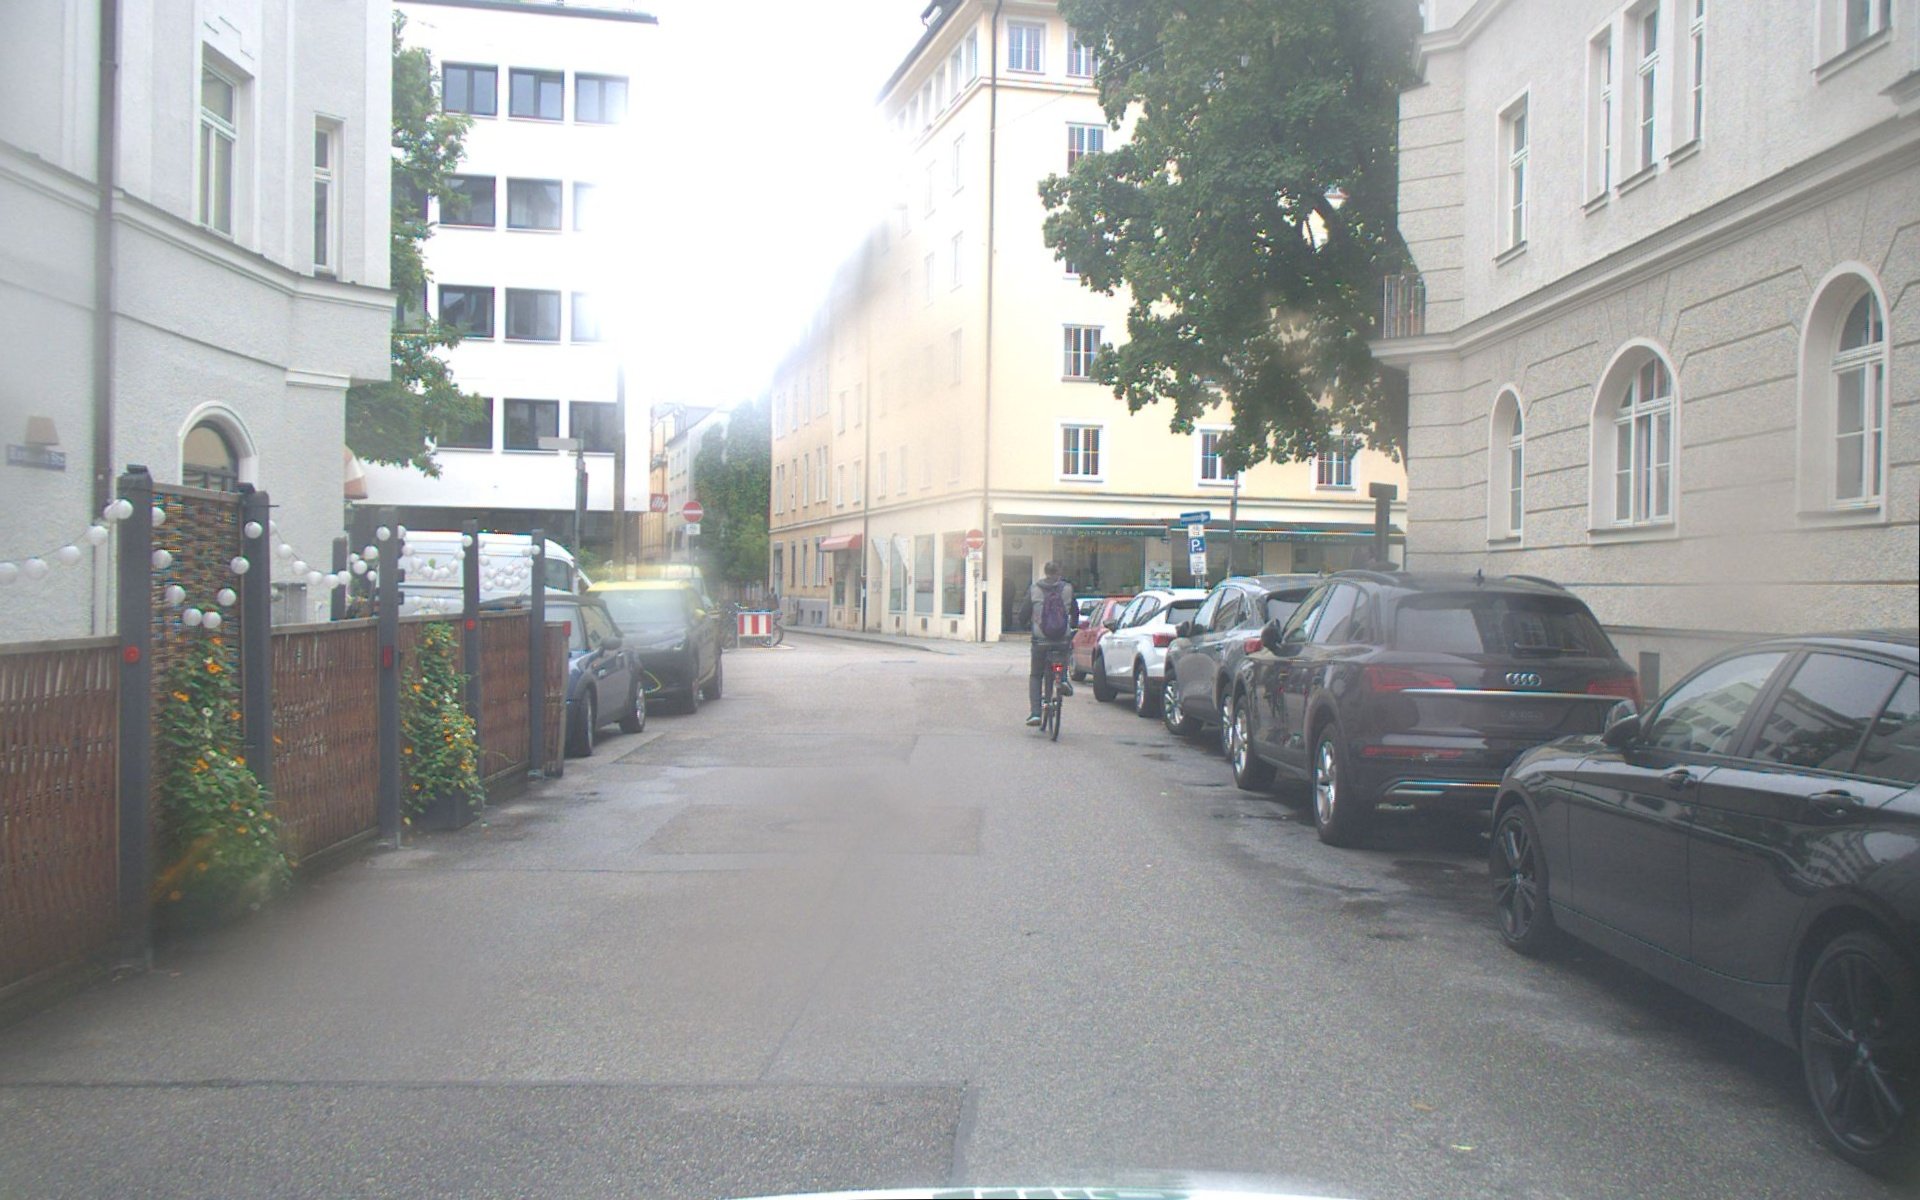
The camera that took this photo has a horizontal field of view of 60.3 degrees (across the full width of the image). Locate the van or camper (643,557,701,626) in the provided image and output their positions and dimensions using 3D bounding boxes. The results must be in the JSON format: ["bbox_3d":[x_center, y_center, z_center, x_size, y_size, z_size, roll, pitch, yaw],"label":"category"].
[{"bbox_3d":[-11.318,-0.333,64.858,1.959,2.584,4.744,0,0,-13],"label":"van or camper"}]

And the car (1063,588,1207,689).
[{"bbox_3d":[2.759,0.561,26.864,1.636,1.460,4.211,1,1,-3],"label":"car"}]

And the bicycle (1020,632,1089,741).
[{"bbox_3d":[0.949,0.865,16.966,0.626,1.022,1.574,0,0,0],"label":"bicycle"}]

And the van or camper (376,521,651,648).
[{"bbox_3d":[-9.894,-0.311,37.099,5.800,2.724,1.867,0,-1,-12],"label":"van or camper"}]

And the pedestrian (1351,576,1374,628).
[{"bbox_3d":[12.129,0.061,49.879,0.428,1.578,0.529,0,0,-31],"label":"pedestrian"}]

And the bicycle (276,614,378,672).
[{"bbox_3d":[-10.934,0.748,28.571,1.542,0.964,0.890,2,-2,-29],"label":"bicycle"}]

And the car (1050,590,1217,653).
[{"bbox_3d":[4.264,0.547,41.037,3.906,1.441,1.820,1,-3,-2],"label":"car"}]

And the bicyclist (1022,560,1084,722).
[{"bbox_3d":[0.955,0.404,17.043,0.593,1.634,0.757,0,1,0],"label":"bicyclist"}]

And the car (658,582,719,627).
[{"bbox_3d":[-9.728,0.139,59.023,1.802,1.562,3.985,0,0,-15],"label":"car"}]

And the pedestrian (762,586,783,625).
[{"bbox_3d":[-8.632,0.241,76.036,0.863,1.809,0.770,0,0,-15],"label":"pedestrian"}]

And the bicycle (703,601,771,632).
[{"bbox_3d":[-6.472,0.486,48.040,1.882,0.878,0.615,0,0,-20],"label":"bicycle"}]

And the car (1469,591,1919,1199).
[{"bbox_3d":[3.237,0.742,5.678,1.671,1.496,4.201,0,1,0],"label":"car"}]

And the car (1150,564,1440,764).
[{"bbox_3d":[3.183,0.533,16.661,1.754,1.743,4.423,0,1,-4],"label":"car"}]

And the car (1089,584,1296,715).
[{"bbox_3d":[2.888,0.571,21.368,1.717,1.522,3.904,1,0,-6],"label":"car"}]

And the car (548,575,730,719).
[{"bbox_3d":[-3.998,0.532,21.154,1.643,1.625,3.943,-2,0,-2],"label":"car"}]

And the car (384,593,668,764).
[{"bbox_3d":[-4.060,0.658,16.132,1.672,1.414,4.000,-1,0,0],"label":"car"}]

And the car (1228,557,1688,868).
[{"bbox_3d":[3.097,0.594,11.294,1.741,1.664,4.374,2,1,-1],"label":"car"}]
